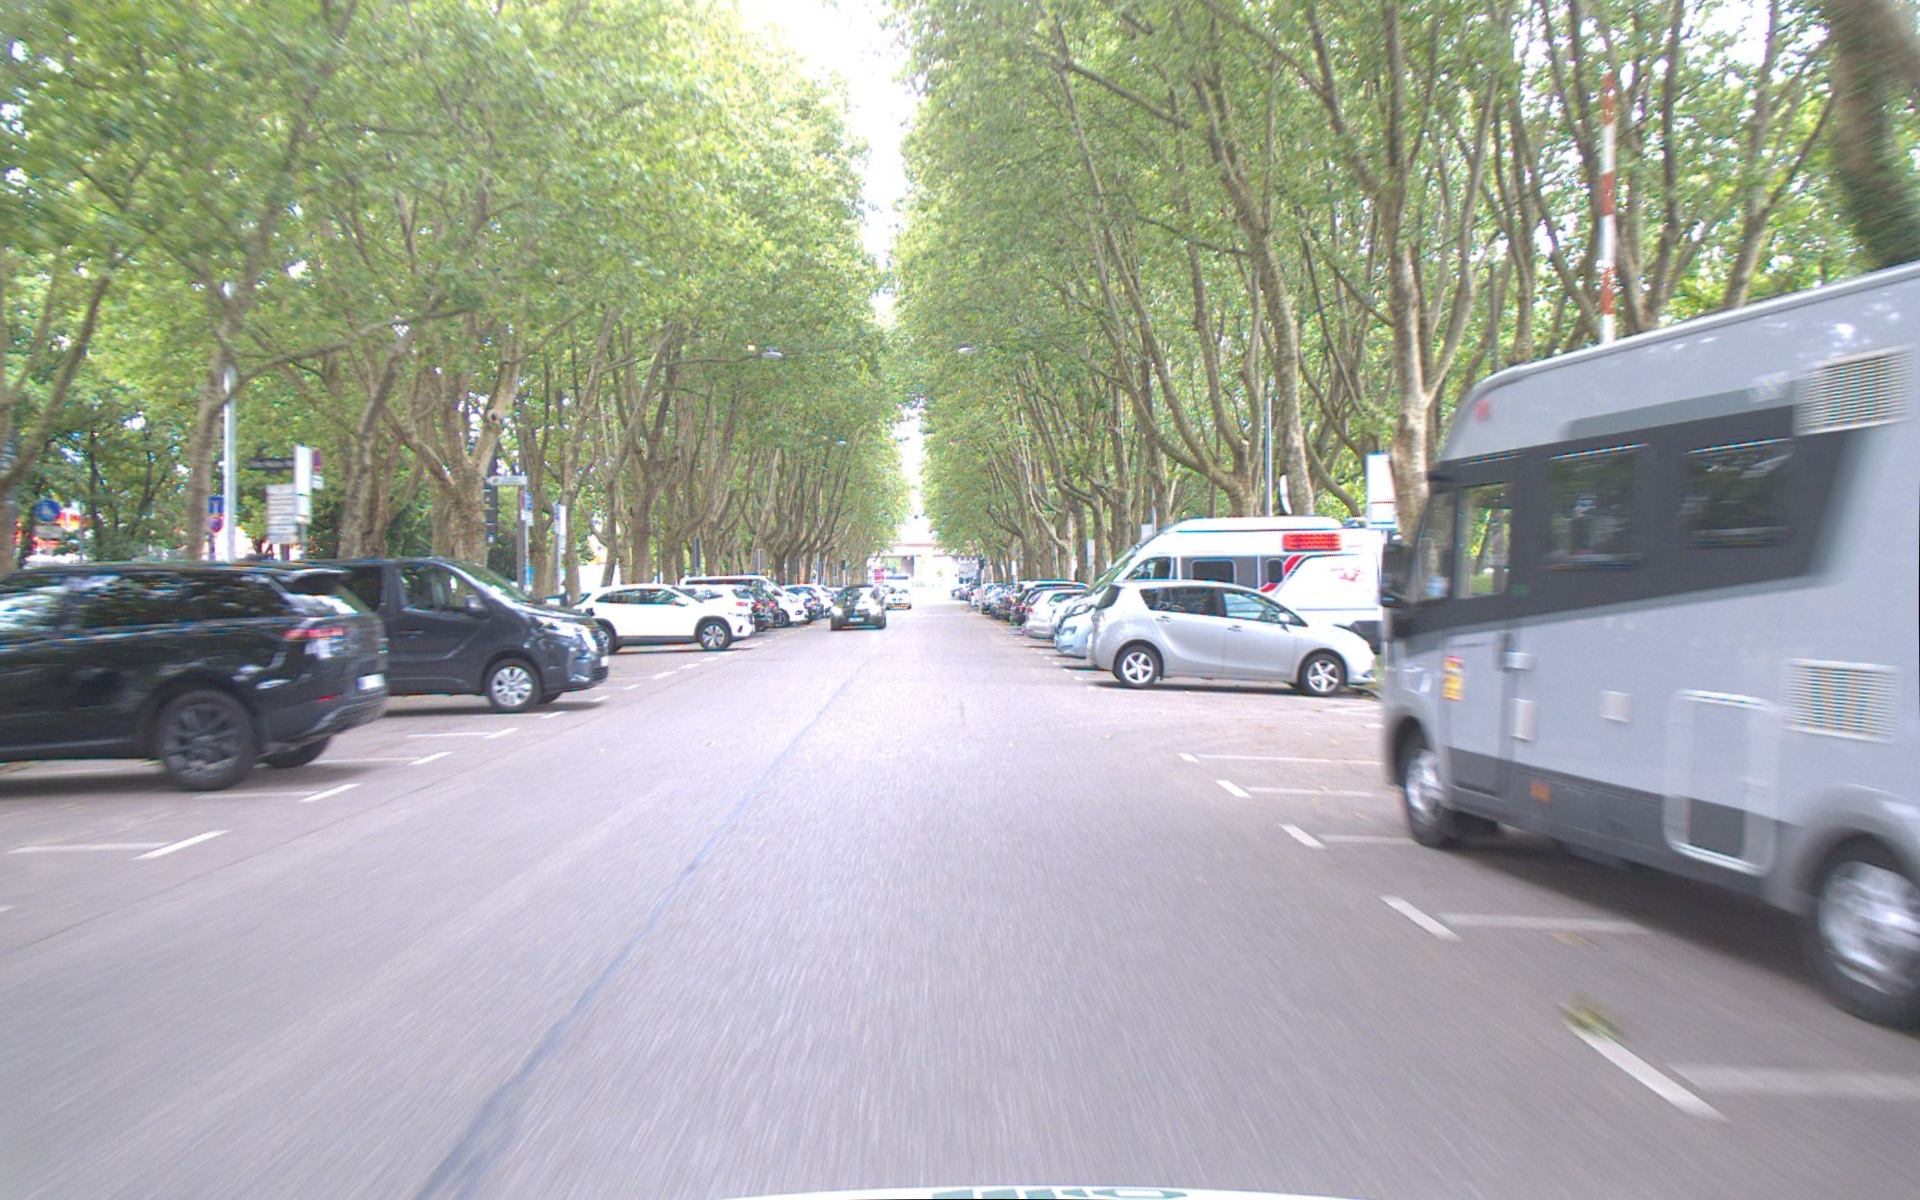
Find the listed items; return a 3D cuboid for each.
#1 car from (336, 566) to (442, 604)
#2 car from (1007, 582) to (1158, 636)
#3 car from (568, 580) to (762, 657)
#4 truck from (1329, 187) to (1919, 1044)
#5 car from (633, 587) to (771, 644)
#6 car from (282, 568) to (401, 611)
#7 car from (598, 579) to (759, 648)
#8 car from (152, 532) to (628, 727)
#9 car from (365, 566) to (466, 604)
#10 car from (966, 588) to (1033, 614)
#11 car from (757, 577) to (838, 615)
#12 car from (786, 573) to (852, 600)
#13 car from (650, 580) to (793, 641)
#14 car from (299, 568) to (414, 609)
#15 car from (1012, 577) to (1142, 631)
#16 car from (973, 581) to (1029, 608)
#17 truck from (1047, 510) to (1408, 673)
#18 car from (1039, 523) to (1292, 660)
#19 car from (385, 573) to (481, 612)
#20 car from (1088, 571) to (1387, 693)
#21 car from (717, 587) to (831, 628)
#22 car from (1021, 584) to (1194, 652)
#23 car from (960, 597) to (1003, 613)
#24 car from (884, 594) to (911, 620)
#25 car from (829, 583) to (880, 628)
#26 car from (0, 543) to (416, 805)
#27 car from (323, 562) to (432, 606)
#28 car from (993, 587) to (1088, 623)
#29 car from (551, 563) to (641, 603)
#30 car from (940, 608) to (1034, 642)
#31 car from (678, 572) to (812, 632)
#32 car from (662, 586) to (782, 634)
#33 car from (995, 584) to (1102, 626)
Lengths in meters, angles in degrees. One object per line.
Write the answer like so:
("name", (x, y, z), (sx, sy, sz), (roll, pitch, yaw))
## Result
("car", (-35.515, -0.922, 102.962), (5.880, 2.279, 1.999), (1, 0, -2))
("car", (3.715, 0.278, 50.541), (4.412, 1.552, 1.702), (1, 0, -3))
("car", (-6.978, 0.414, 39.521), (4.292, 1.624, 1.999), (-2, 0, -3))
("truck", (4.277, 0.047, 7.562), (2.413, 2.989, 7.522), (1, 0, -9))
("car", (-7.795, 0.442, 50.210), (3.908, 1.501, 1.842), (-3, 1, -3))
("car", (-34.656, -0.589, 92.846), (5.880, 2.292, 1.999), (1, 0, -2))
("car", (-7.990, 0.366, 47.314), (4.254, 1.696, 1.999), (-3, 0, -3))
("car", (-7.124, 0.339, 21.144), (5.327, 2.165, 1.939), (-2, 1, -3))
("car", (-35.519, -0.950, 107.945), (5.880, 2.370, 1.999), (1, 0, -2))
("car", (2.469, 0.051, 105.140), (4.085, 1.624, 1.853), (1, 0, -5))
("car", (-7.802, -0.201, 79.630), (3.751, 1.656, 1.951), (-2, 0, -4))
("car", (-8.254, -0.791, 97.040), (3.751, 1.454, 1.693), (-2, 0, -4))
("car", (-7.573, 0.310, 52.794), (4.254, 1.696, 1.999), (-3, 0, -3))
("car", (-34.705, -0.658, 95.198), (5.880, 2.292, 1.999), (1, 0, -2))
("car", (4.034, 0.139, 57.538), (4.297, 1.786, 1.800), (1, 0, -3))
("car", (2.706, -0.365, 110.339), (3.574, 1.696, 1.518), (1, 0, -5))
("truck", (4.750, -0.151, 30.016), (6.166, 2.762, 2.097), (1, 0, -2))
("car", (4.325, -0.180, 35.381), (5.122, 2.736, 1.957), (1, 0, -1))
("car", (-35.848, -0.491, 112.602), (5.880, 2.571, 1.999), (1, 0, -2))
("car", (4.131, 0.464, 25.164), (4.250, 1.646, 1.804), (2, 0, 2))
("car", (-7.558, 0.286, 67.454), (4.355, 1.478, 1.775), (-2, 0, 3))
("car", (3.561, 0.429, 40.326), (4.035, 1.454, 1.703), (3, 0, 1))
("car", (2.142, 0.493, 164.129), (4.088, 1.467, 1.732), (0, 0, 4))
("car", (-4.013, 0.428, 105.358), (1.655, 1.497, 3.838), (-2, 1, -3))
("car", (-3.637, 0.165, 56.582), (1.622, 1.387, 4.108), (-3, 1, -4))
("car", (-7.118, 0.595, 13.607), (4.558, 1.851, 1.806), (-3, 2, 0))
("car", (-35.411, -0.974, 100.595), (5.880, 2.571, 1.999), (1, 0, -2))
("car", (3.279, 0.177, 67.917), (3.750, 1.413, 1.693), (1, 0, -3))
("car", (-24.765, -1.151, 112.756), (5.668, 2.642, 2.000), (1, 0, -1))
("car", (1.183, 1.113, 74.514), (4.127, 1.476, 1.610), (1, 0, -3))
("car", (-8.058, 0.070, 62.303), (4.795, 2.054, 1.919), (-2, 0, -2))
("car", (-8.180, 0.336, 57.088), (3.908, 1.437, 1.682), (-3, 1, -3))
("car", (3.343, 0.168, 62.708), (3.907, 1.512, 1.693), (1, 0, -3))
